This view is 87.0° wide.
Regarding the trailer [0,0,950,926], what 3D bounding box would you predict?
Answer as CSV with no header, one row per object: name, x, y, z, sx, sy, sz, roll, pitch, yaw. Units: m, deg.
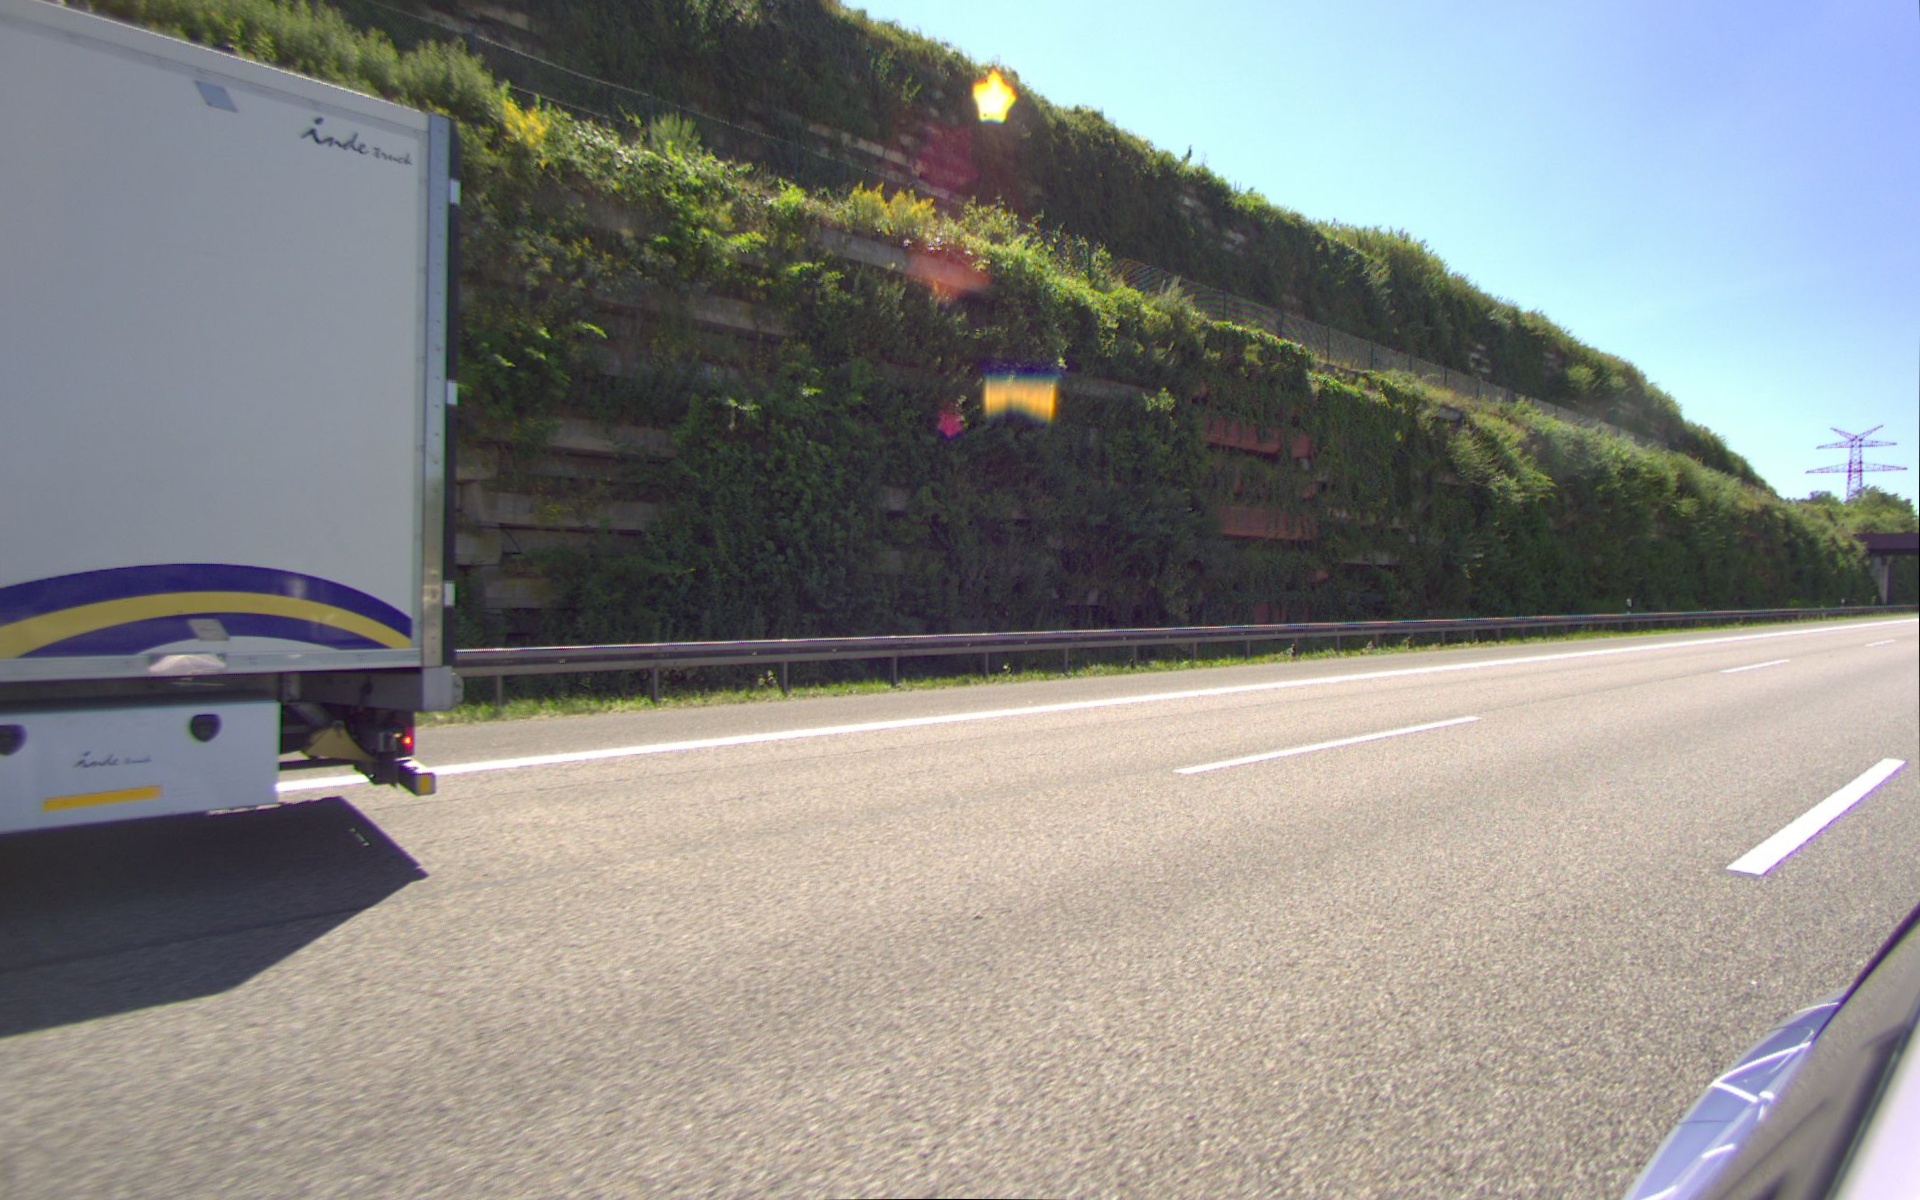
trailer,-7.230,-0.778,3.077,16.728,4.265,2.519,0,1,-41
